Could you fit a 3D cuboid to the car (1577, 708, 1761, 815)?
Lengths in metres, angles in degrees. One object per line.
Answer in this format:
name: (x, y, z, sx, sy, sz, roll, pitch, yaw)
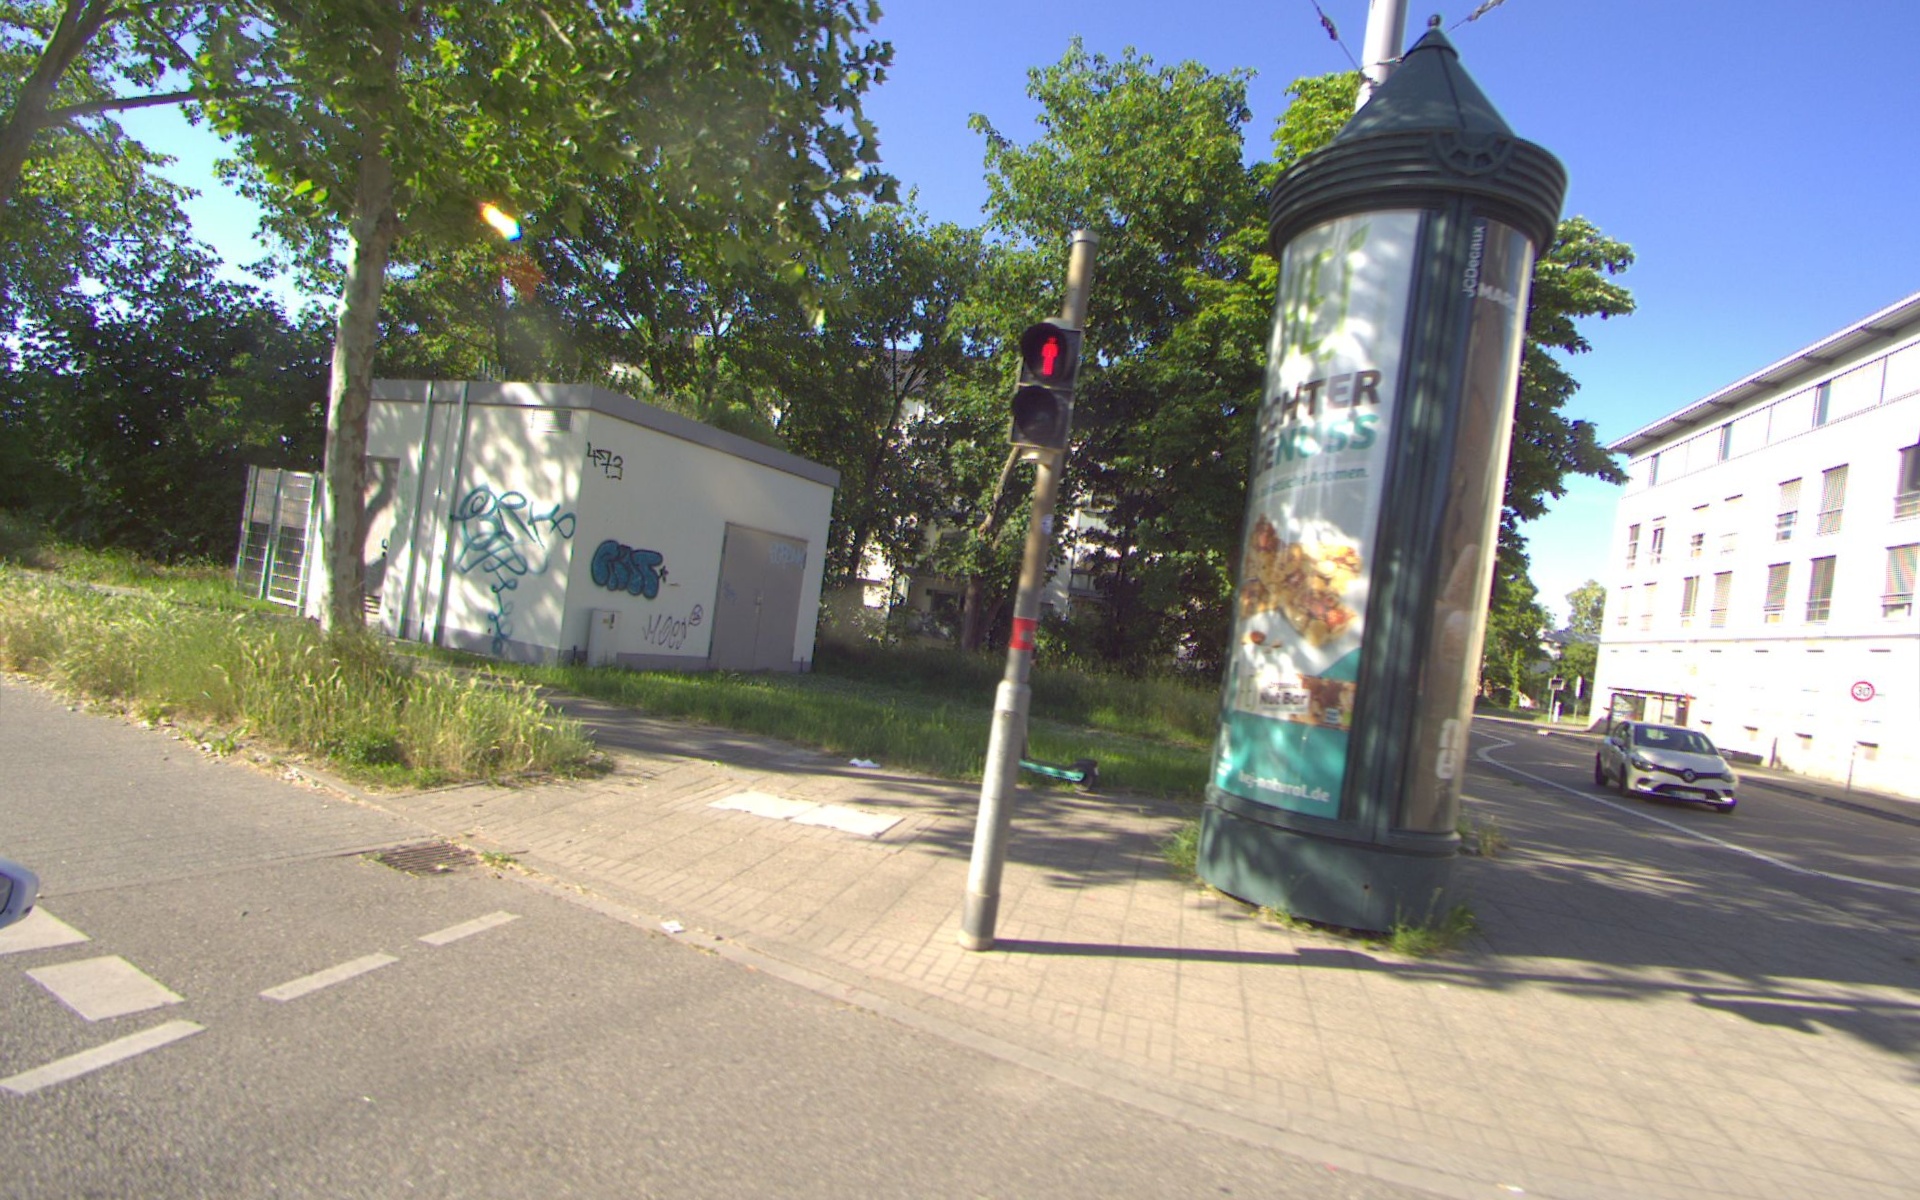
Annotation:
car: (13.653, 3.042, 19.661, 1.766, 1.485, 4.002, 7, -2, 19)
